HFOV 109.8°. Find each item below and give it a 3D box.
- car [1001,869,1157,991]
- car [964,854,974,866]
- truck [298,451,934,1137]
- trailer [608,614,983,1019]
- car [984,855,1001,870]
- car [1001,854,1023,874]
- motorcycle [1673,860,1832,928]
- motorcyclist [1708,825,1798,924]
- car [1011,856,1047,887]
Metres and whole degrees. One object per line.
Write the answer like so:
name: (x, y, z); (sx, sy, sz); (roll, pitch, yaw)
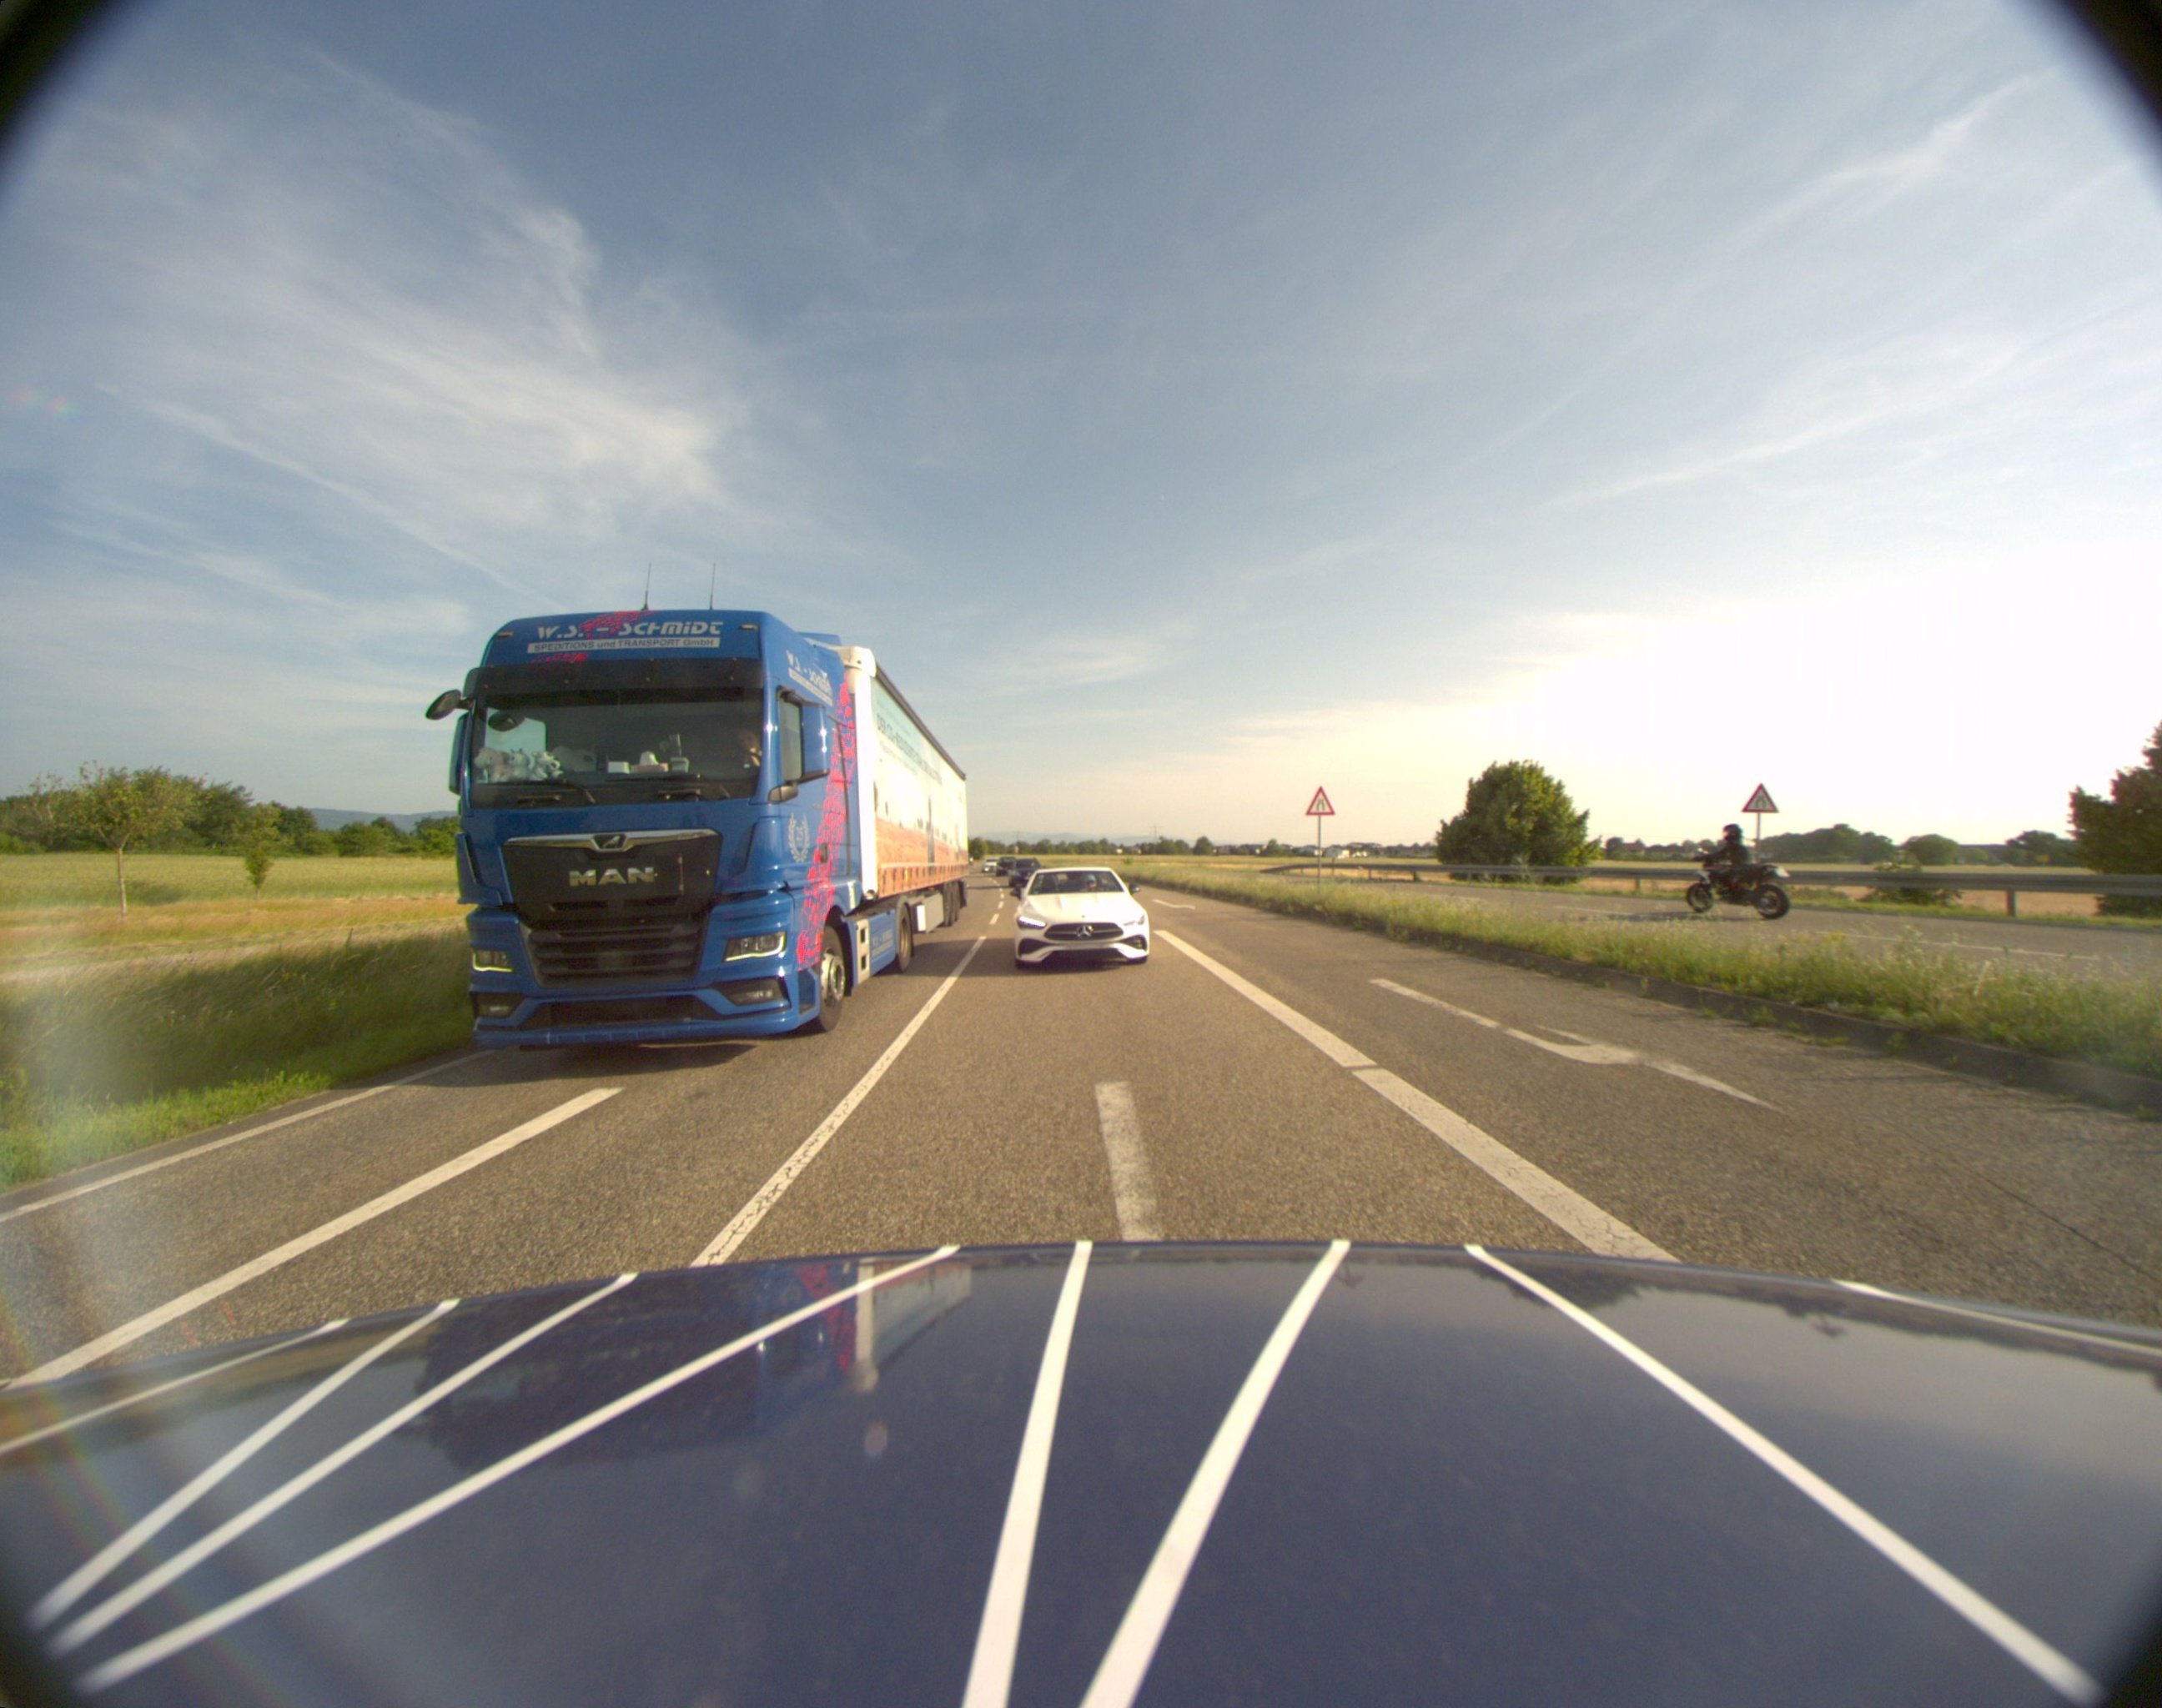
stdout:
car: (-0.078, 1.008, 11.667); (1.941, 1.389, 3.917); (-2, 0, -2)
car: (-18.963, 1.051, 128.526); (1.558, 1.909, 4.032); (-1, 0, -8)
truck: (-3.695, -0.457, 8.099); (3.309, 4.631, 5.729); (-2, 1, -4)
trailer: (-4.156, -0.529, 15.466); (3.291, 4.654, 13.140); (-2, 1, -4)
car: (-8.679, 0.836, 74.335); (1.558, 1.392, 4.032); (-1, 0, -8)
car: (-5.490, 0.772, 60.129); (1.558, 1.550, 3.046); (-1, 0, -8)
motorcycle: (12.508, 0.699, 14.284); (0.940, 1.118, 2.169); (-2, 0, -5)
motorcyclist: (12.501, 0.370, 14.160); (0.906, 1.748, 0.831); (-2, 1, -6)
car: (-2.722, 0.869, 39.165); (1.586, 1.496, 3.658); (-1, 0, -8)
